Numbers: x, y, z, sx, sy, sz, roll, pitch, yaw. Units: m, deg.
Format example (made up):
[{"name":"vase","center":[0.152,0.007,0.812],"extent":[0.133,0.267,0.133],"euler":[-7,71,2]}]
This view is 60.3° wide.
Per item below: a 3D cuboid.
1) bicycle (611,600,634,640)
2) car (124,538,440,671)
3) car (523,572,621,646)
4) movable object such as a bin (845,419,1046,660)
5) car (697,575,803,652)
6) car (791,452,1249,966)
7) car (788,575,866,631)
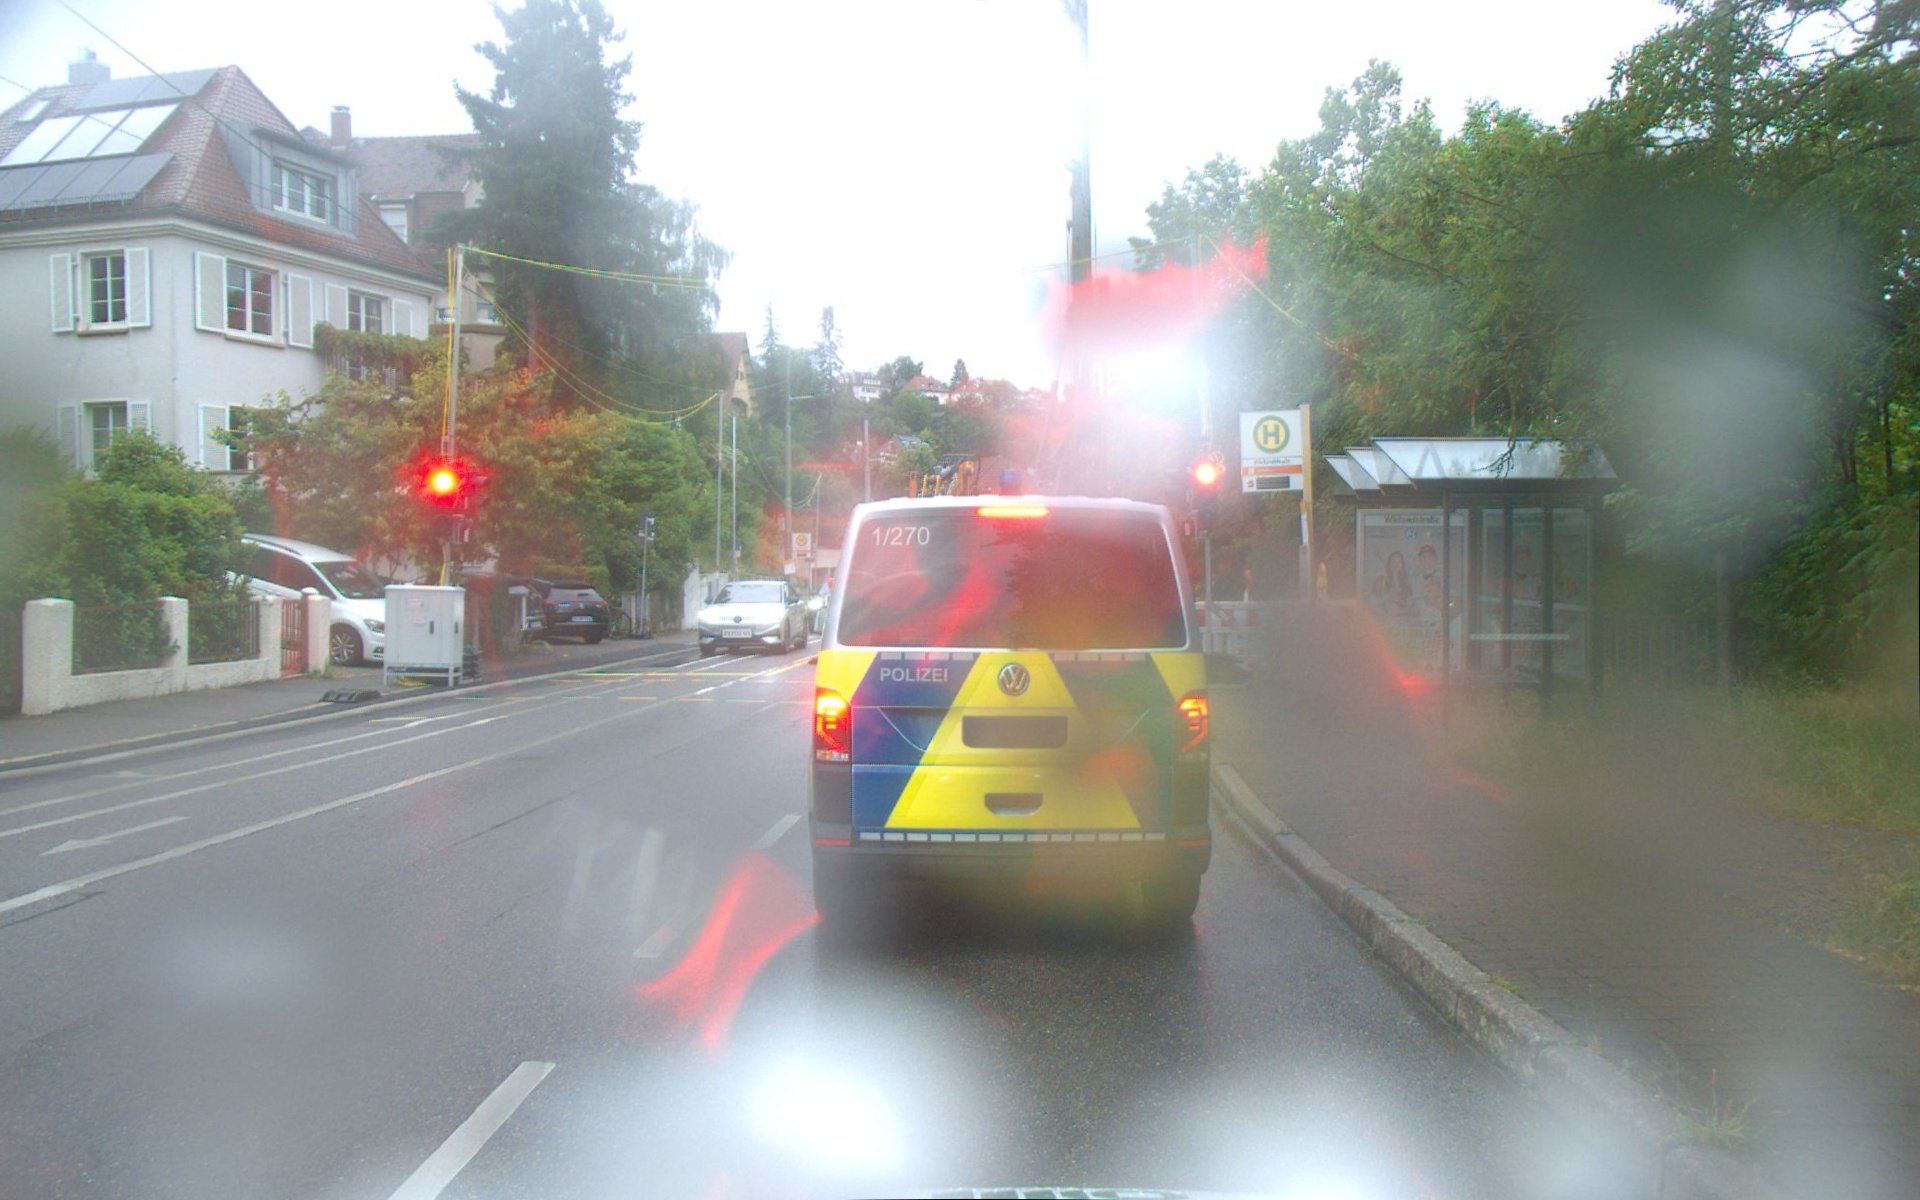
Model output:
[{"name":"bicycle","center":[-8.059,0.465,39.442],"extent":[0.455,0.913,1.628],"euler":[0,0,-15]},{"name":"car","center":[-11.214,0.055,27.478],"extent":[4.532,2.042,1.902],"euler":[1,0,11]},{"name":"car","center":[-8.917,0.175,37.816],"extent":[1.739,1.512,3.721],"euler":[1,2,-20]},{"name":"movable object such as a bin","center":[-0.171,-1.094,31.627],"extent":[2.770,4.250,4.384],"euler":[1,0,14]},{"name":"car","center":[-4.510,0.285,36.189],"extent":[1.815,1.554,4.818],"euler":[1,0,-2]},{"name":"car","center":[0.221,0.437,8.809],"extent":[1.855,2.086,3.999],"euler":[1,0,-1]},{"name":"car","center":[-4.075,0.088,51.257],"extent":[1.828,1.650,4.166],"euler":[1,0,3]}]
